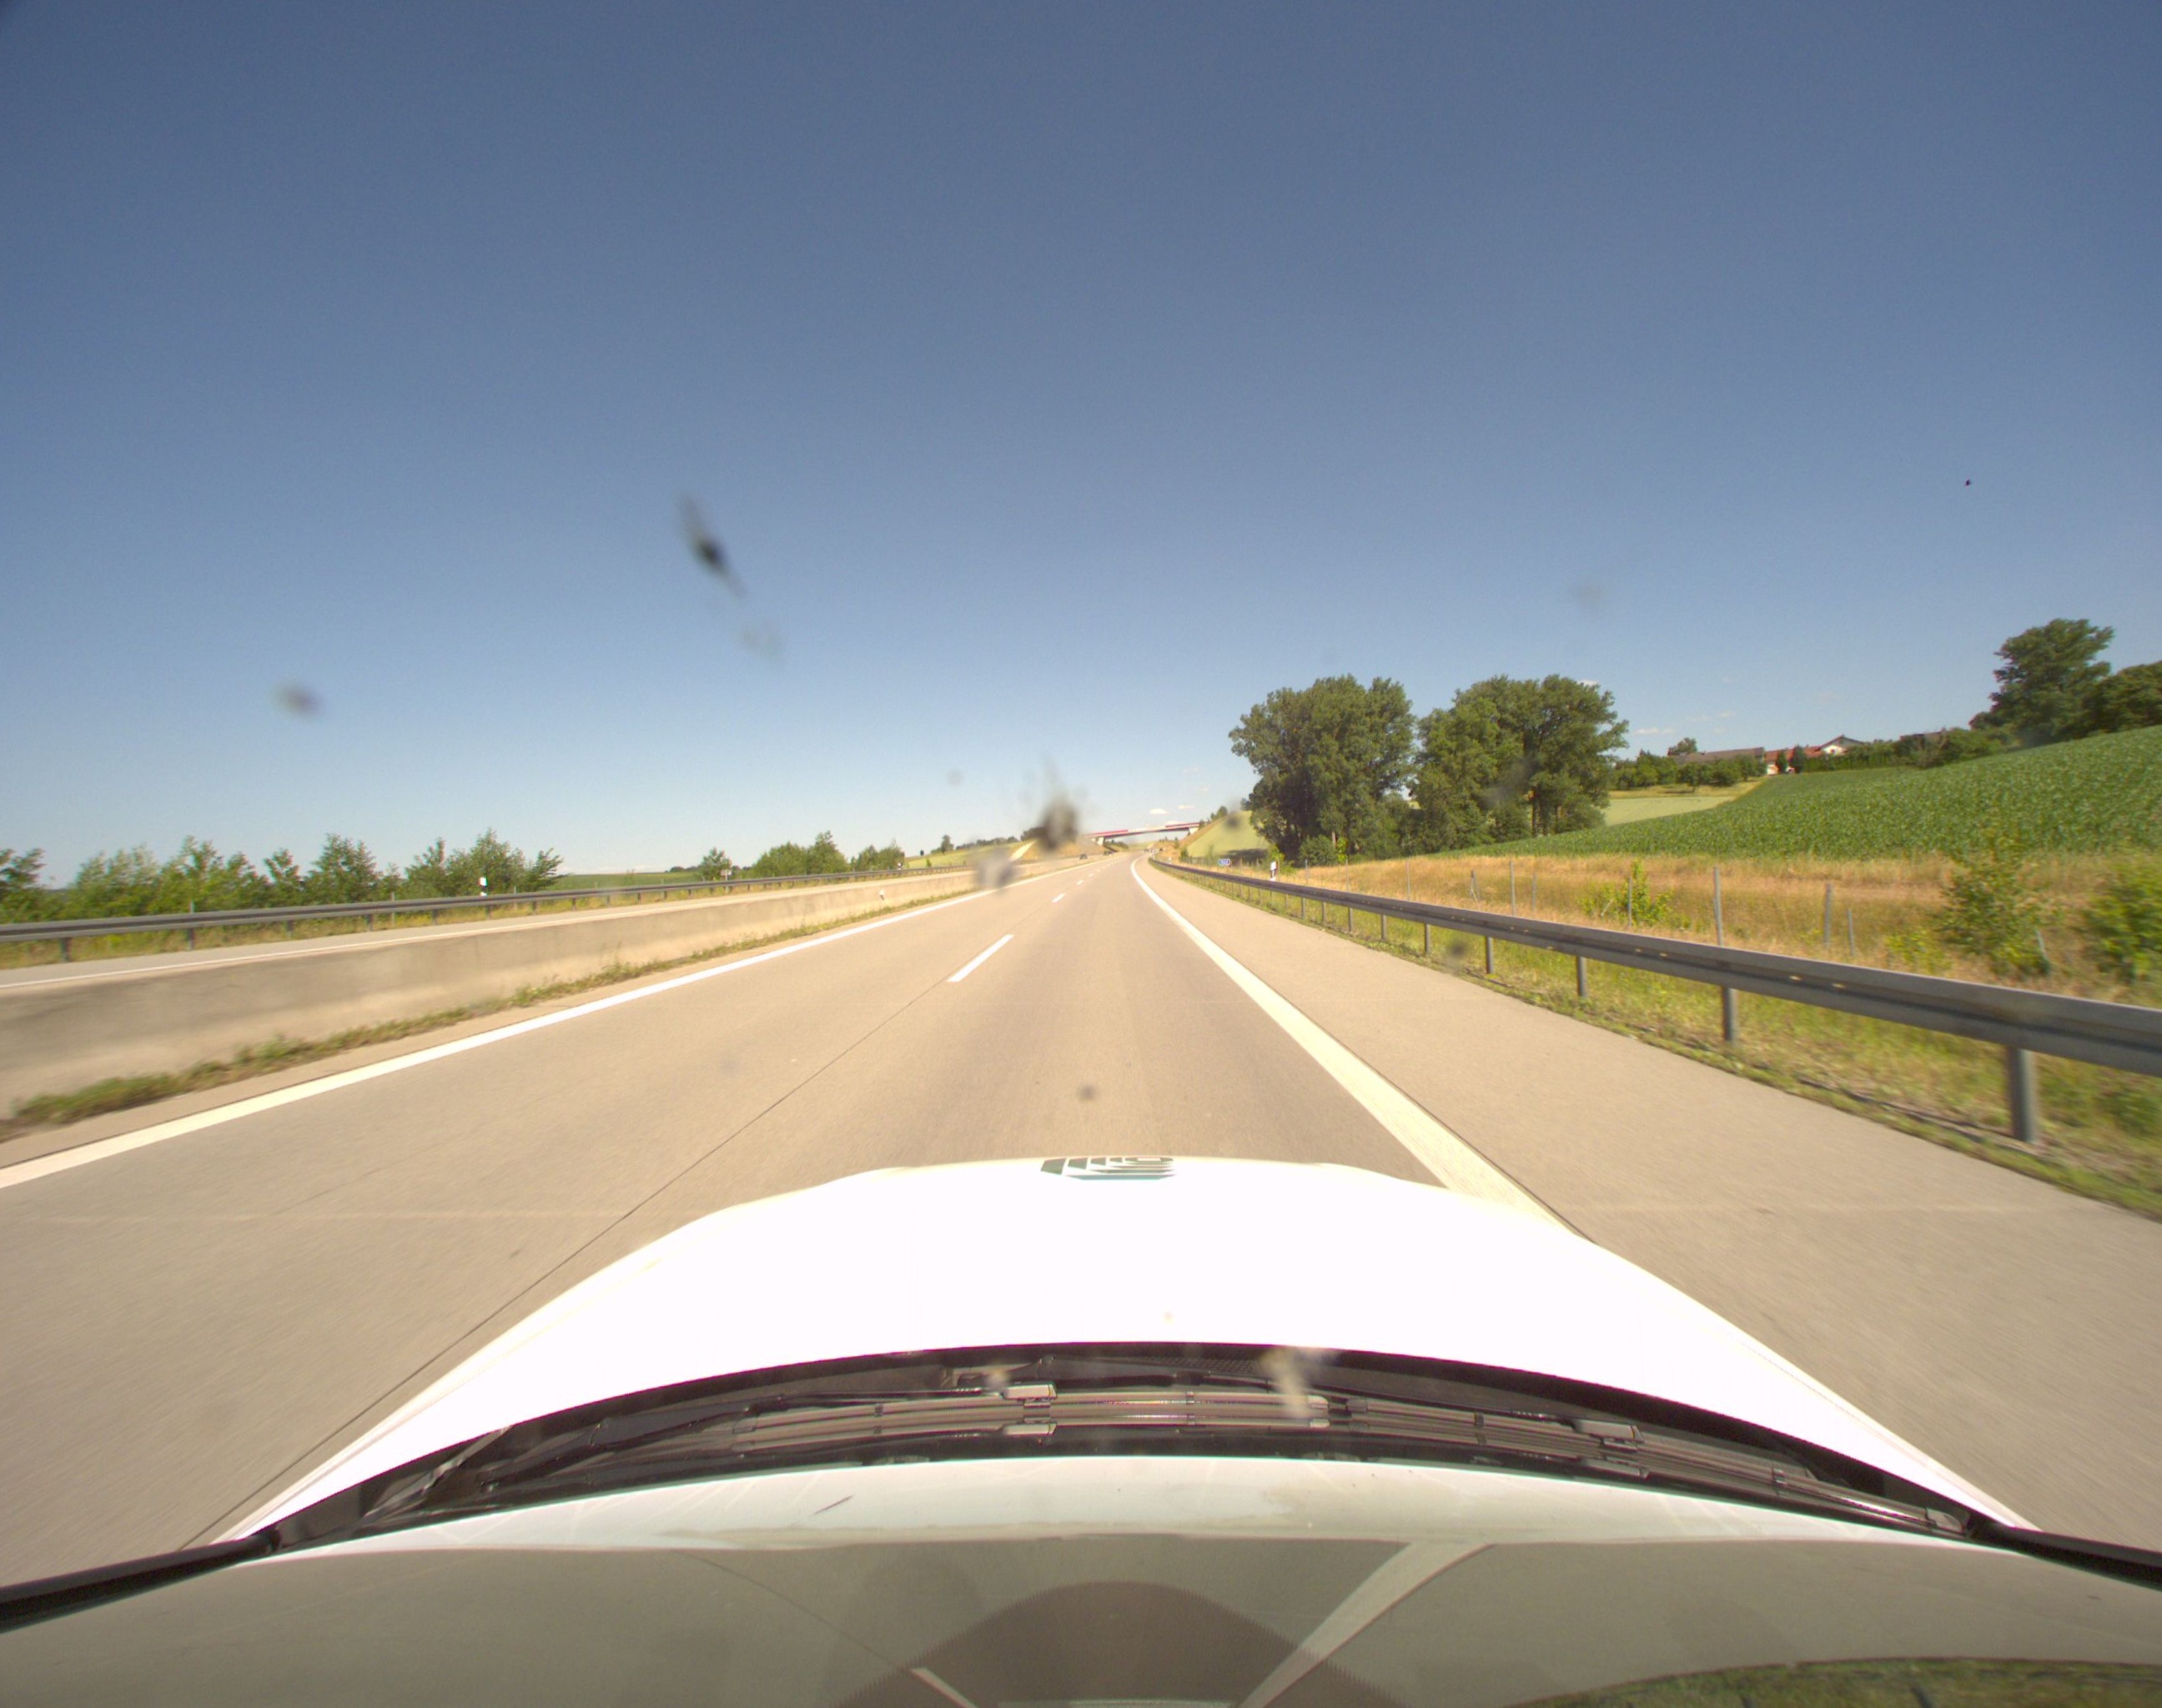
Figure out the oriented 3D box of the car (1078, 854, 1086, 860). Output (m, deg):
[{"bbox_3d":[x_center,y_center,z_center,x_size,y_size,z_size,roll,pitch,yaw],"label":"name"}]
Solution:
[{"bbox_3d":[0.323,0.853,219.678,1.805,1.456,4.516,-1,-1,4],"label":"car"}]
